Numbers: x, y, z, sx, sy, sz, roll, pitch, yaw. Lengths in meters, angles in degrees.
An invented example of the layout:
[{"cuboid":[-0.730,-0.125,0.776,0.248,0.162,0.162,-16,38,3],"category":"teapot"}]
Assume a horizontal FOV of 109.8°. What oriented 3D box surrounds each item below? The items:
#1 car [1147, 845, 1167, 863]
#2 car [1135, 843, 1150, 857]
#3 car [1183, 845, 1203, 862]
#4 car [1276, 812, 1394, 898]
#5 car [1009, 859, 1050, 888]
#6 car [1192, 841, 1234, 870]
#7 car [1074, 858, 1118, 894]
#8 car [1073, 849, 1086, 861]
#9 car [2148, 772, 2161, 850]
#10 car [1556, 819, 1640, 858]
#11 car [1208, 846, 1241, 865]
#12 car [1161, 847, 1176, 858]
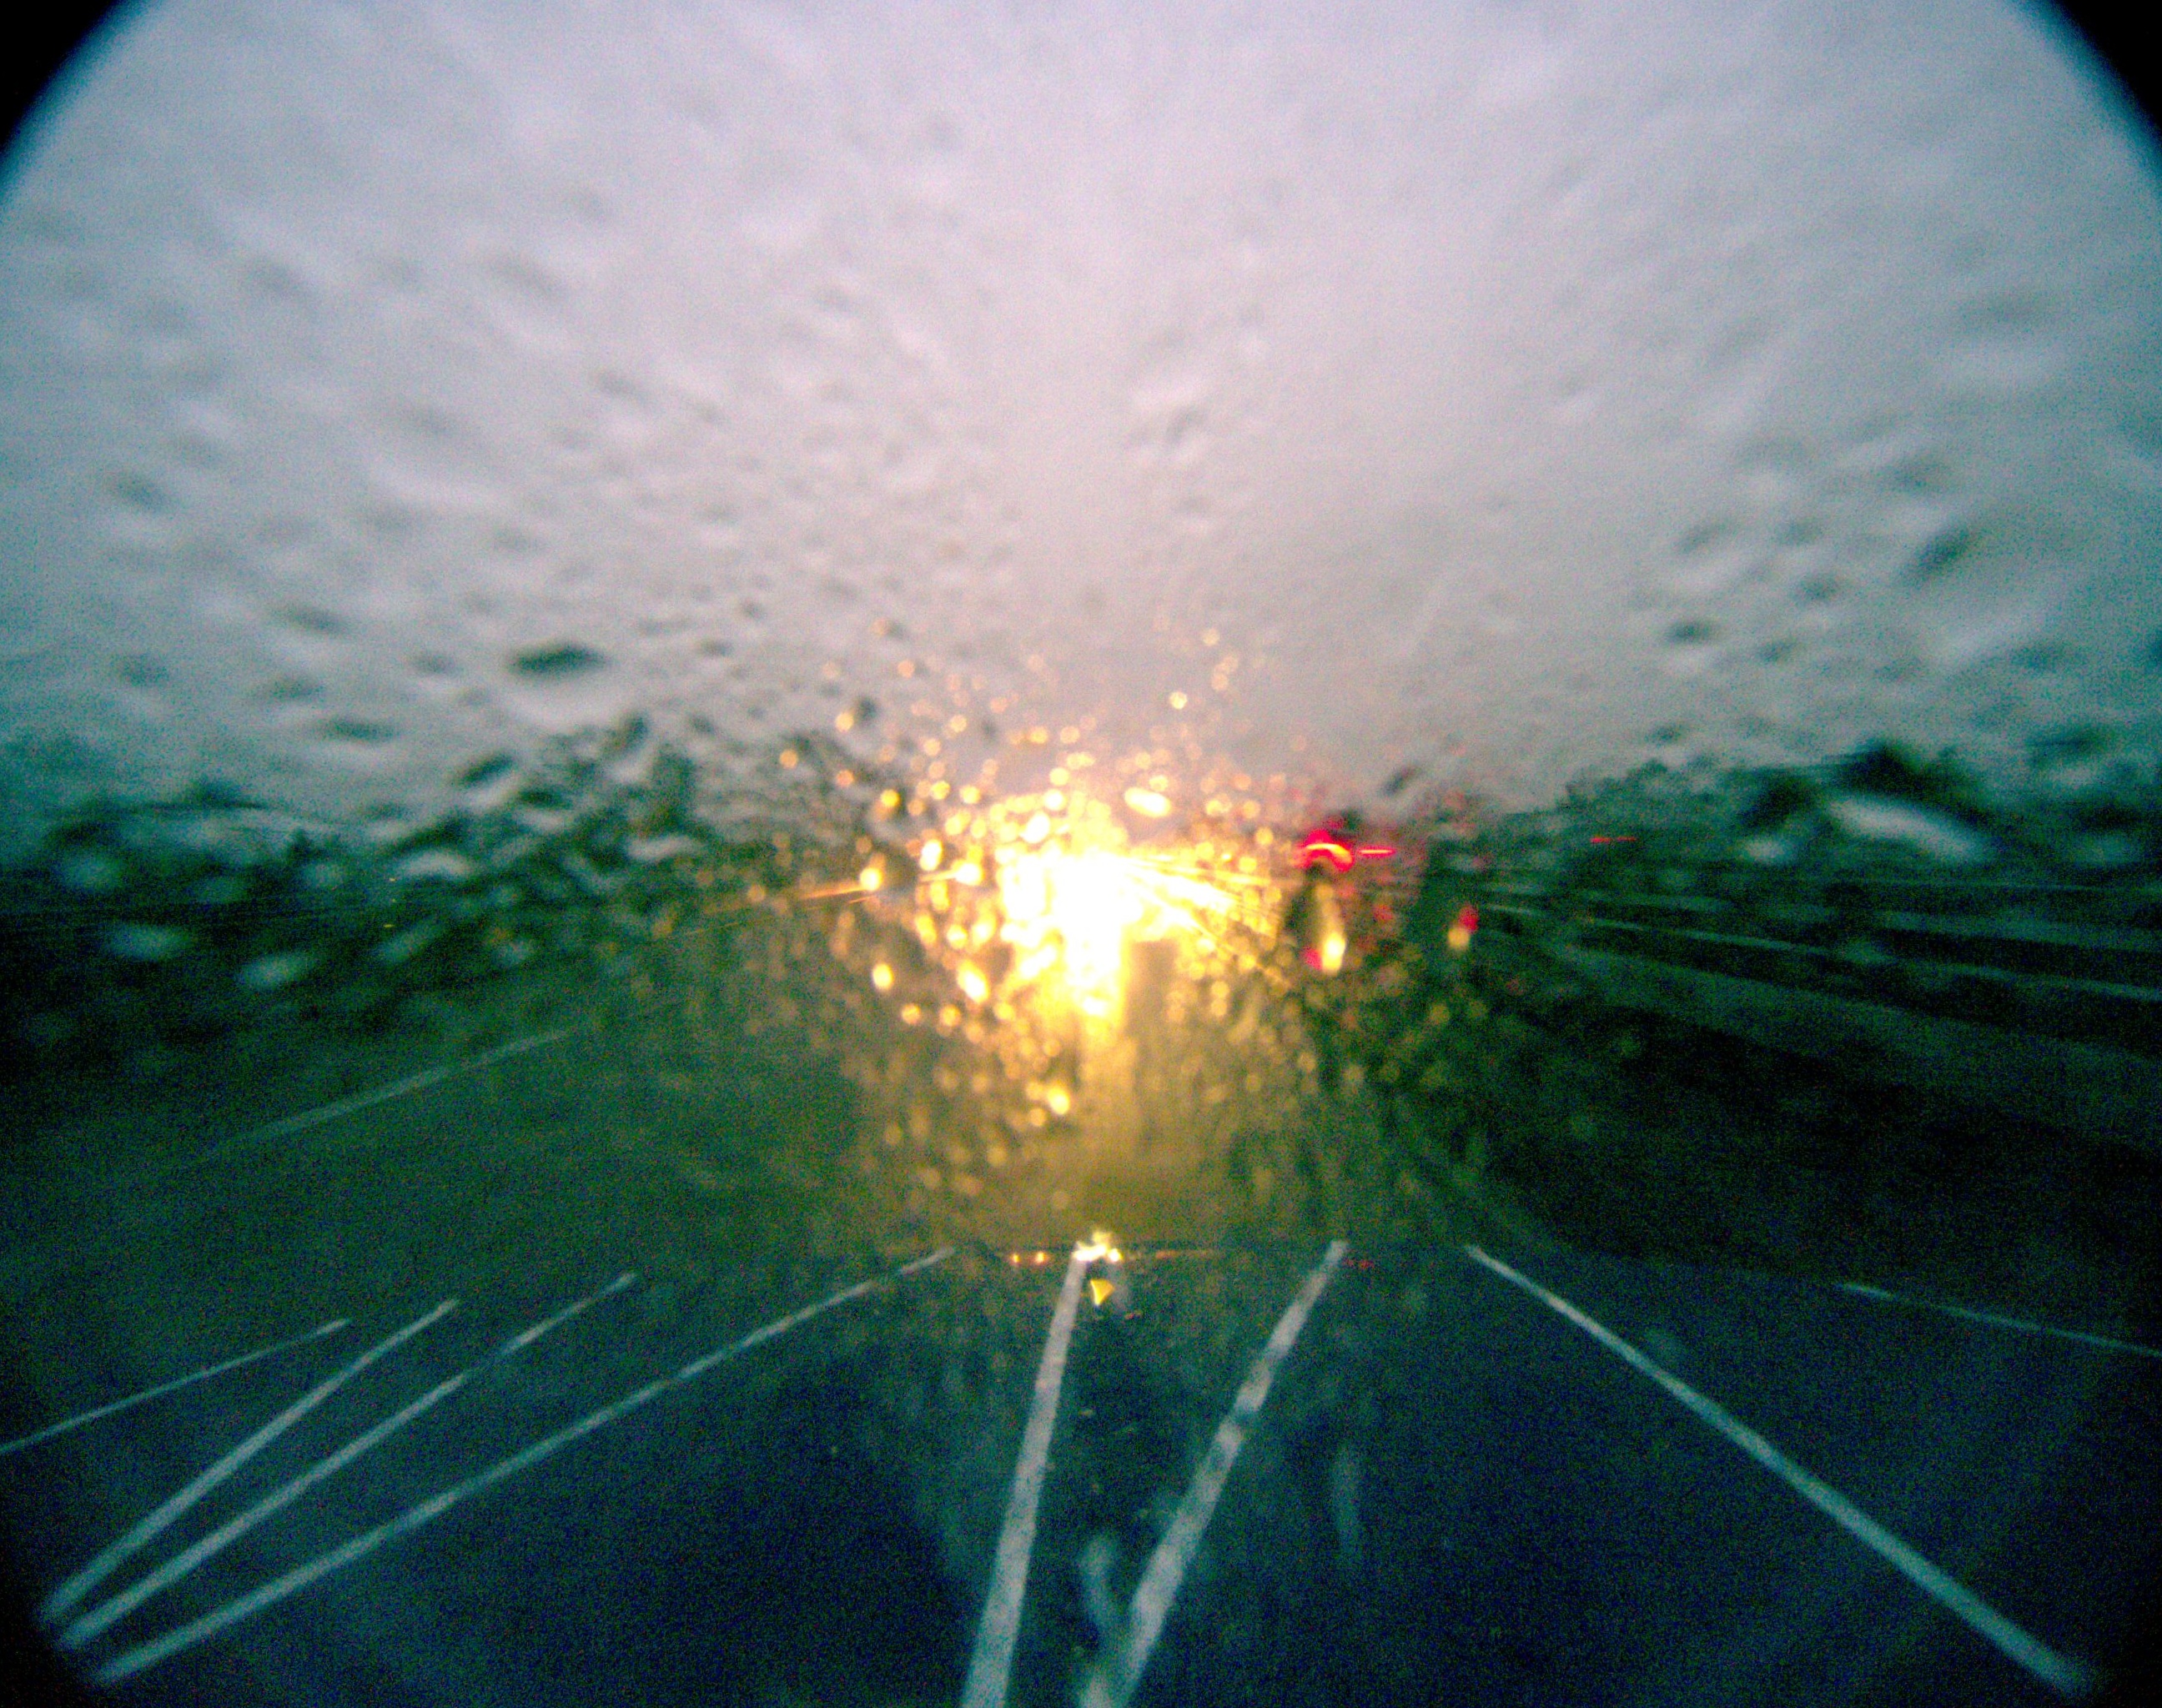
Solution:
[{"cuboid":[8.989,-0.020,89.986,1.969,2.041,4.373,-2,0,1],"category":"car"},{"cuboid":[9.536,-0.626,117.312,2.086,2.135,4.462,-2,0,3],"category":"car"},{"cuboid":[12.936,-0.044,87.761,1.747,1.805,4.000,-2,0,1],"category":"car"},{"cuboid":[7.433,-0.011,22.837,1.998,2.202,5.053,-3,1,3],"category":"car"},{"cuboid":[-2.956,1.095,44.211,1.850,1.521,4.150,-2,0,3],"category":"car"},{"cuboid":[8.344,0.076,48.427,1.998,1.718,4.000,-3,0,2],"category":"car"},{"cuboid":[0.725,1.002,35.470,1.850,1.521,4.149,-2,0,2],"category":"car"},{"cuboid":[-0.287,0.123,128.751,1.998,2.002,4.000,-3,1,1],"category":"car"},{"cuboid":[28.807,-1.158,17.788,1.998,2.002,4.000,-2,0,1],"category":"car"},{"cuboid":[29.098,-0.829,42.899,1.998,2.002,4.000,-2,0,1],"category":"car"},{"cuboid":[11.816,0.115,62.859,1.973,1.515,4.199,-2,0,2],"category":"car"},{"cuboid":[13.347,-0.182,116.465,1.860,1.557,3.922,-2,0,0],"category":"car"}]
